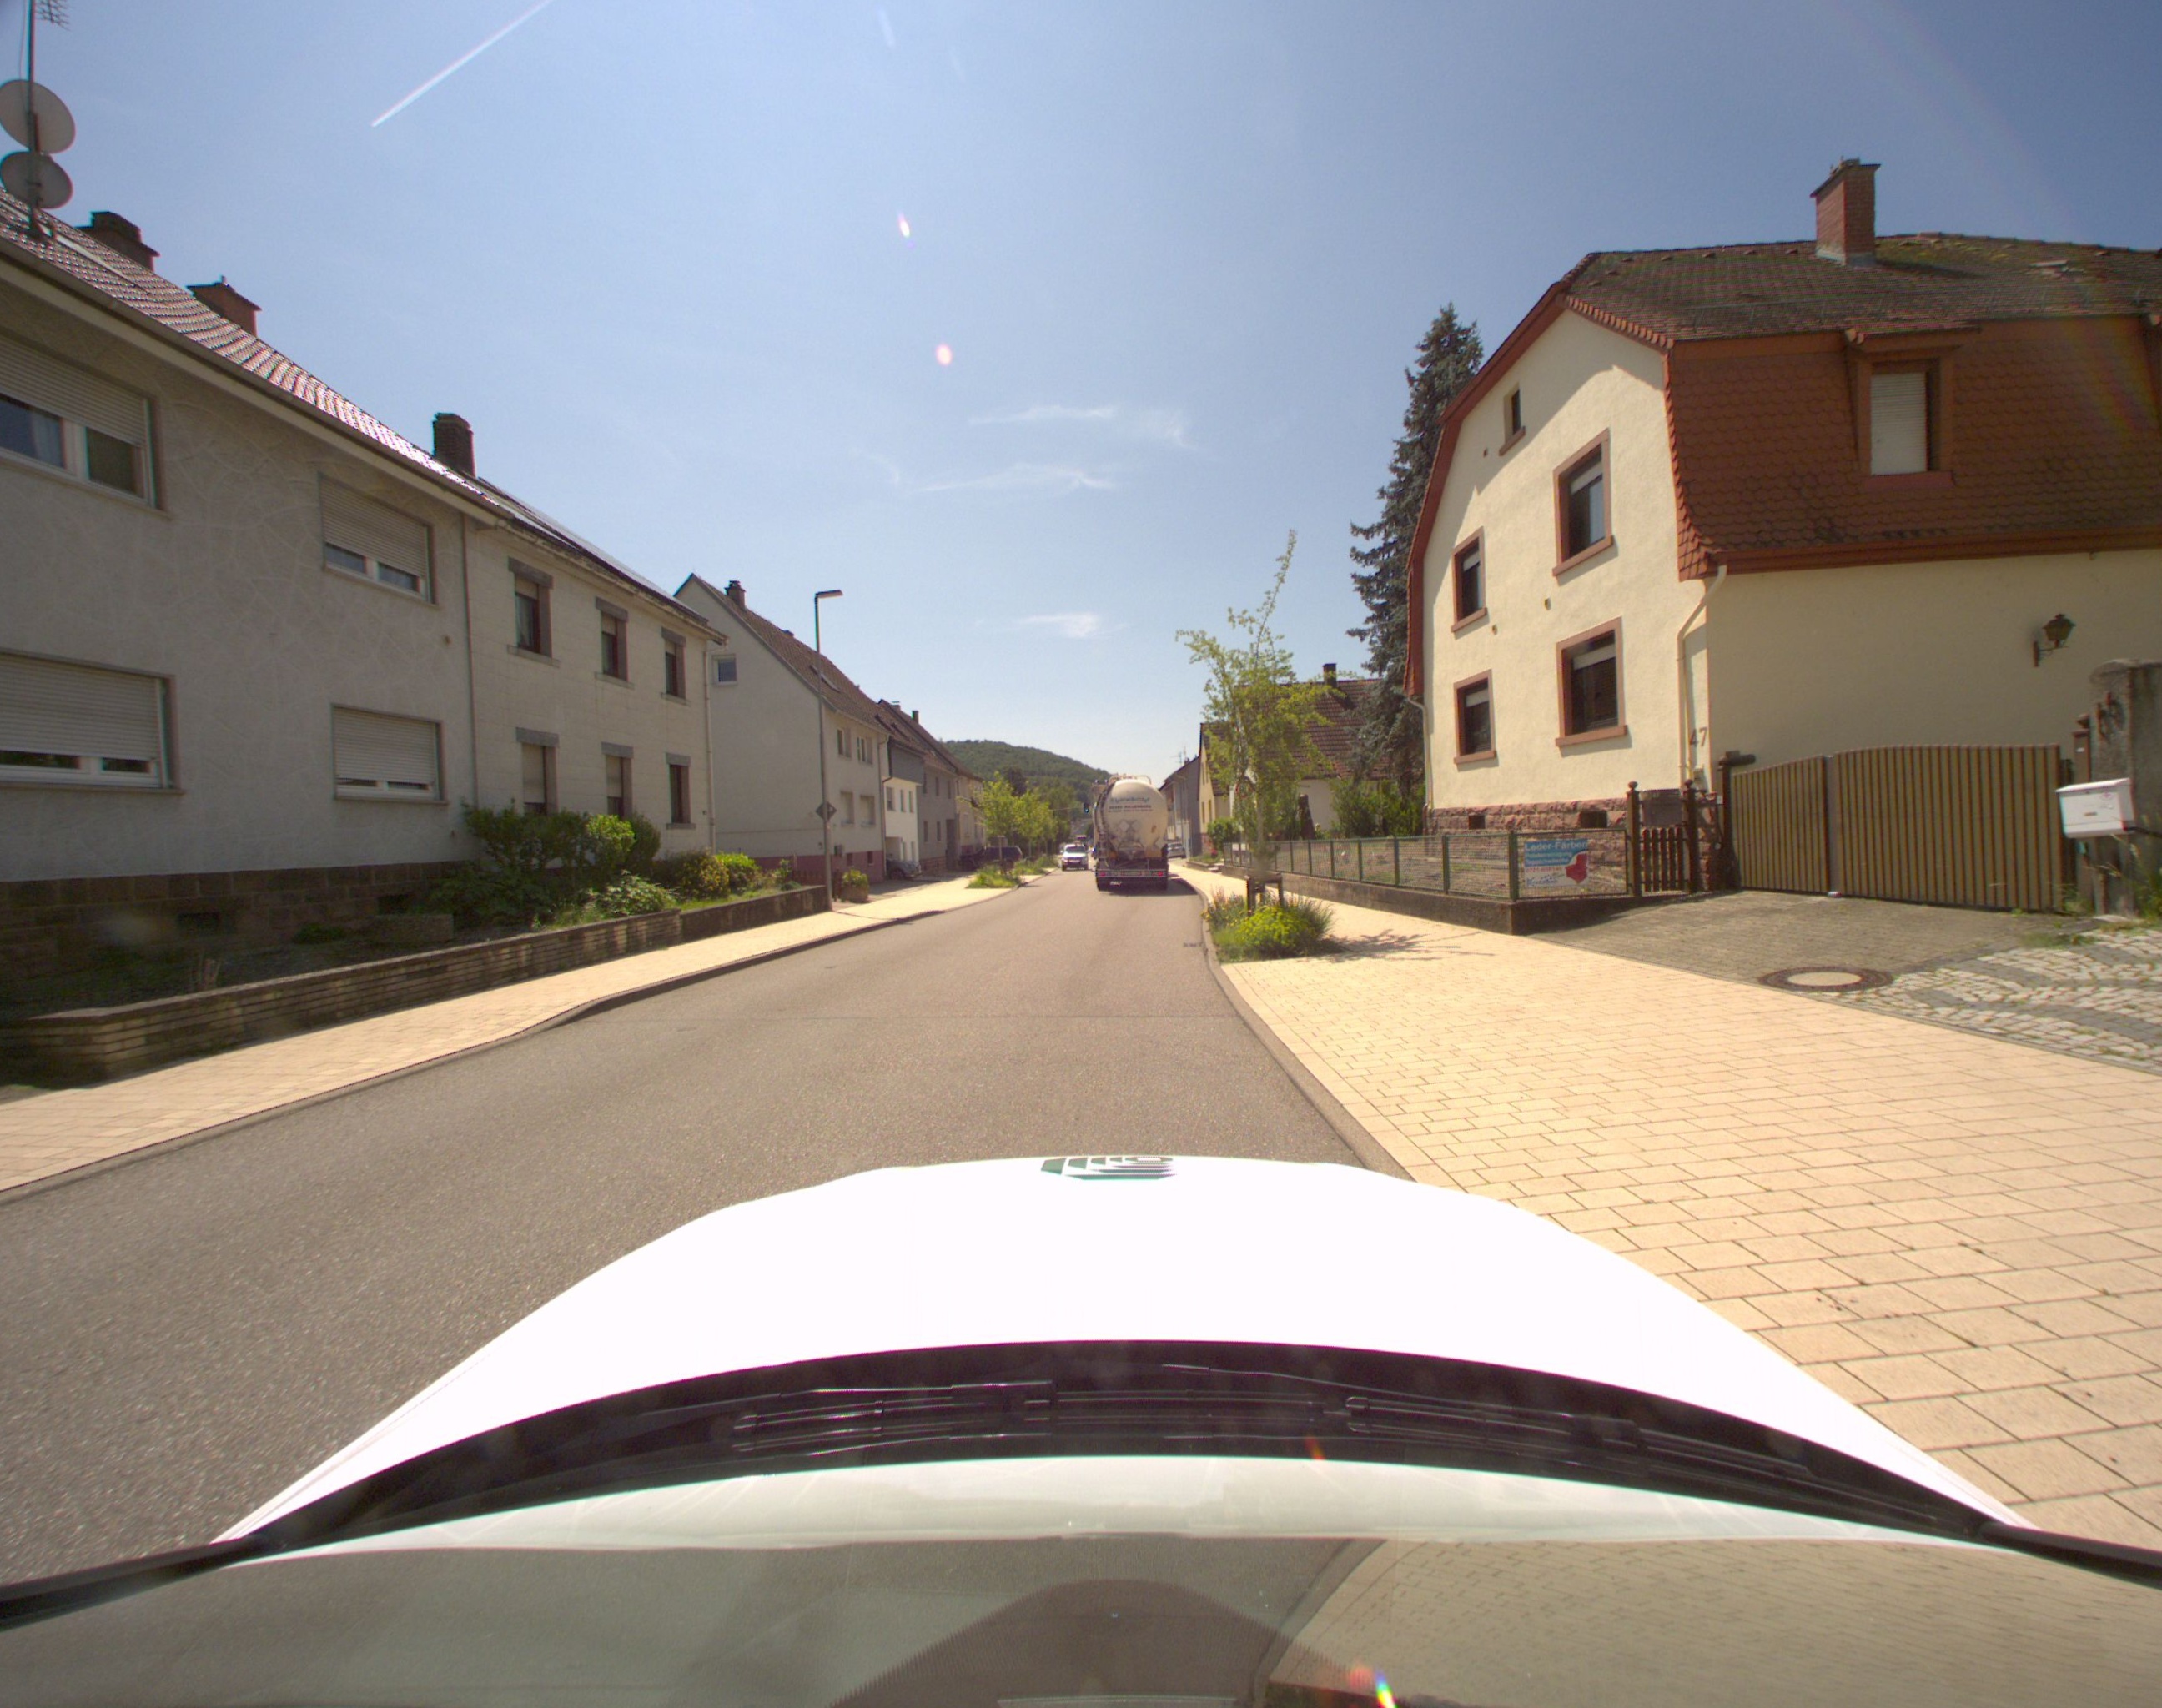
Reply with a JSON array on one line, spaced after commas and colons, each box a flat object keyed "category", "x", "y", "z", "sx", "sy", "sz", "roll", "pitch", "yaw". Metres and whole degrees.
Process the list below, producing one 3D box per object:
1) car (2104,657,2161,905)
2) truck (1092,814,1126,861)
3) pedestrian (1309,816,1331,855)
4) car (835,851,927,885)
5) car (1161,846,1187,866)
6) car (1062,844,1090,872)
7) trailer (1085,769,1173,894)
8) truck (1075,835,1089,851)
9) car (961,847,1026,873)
[{"category": "car", "x": 9.649, "y": -0.530, "z": 5.124, "sx": 3.971, "sy": 1.766, "sz": 1.892, "roll": 0, "pitch": 0, "yaw": 2}, {"category": "truck", "x": 2.844, "y": -1.603, "z": 86.695, "sx": 2.839, "sy": 4.679, "sz": 11.329, "roll": 0, "pitch": -1, "yaw": -2}, {"category": "pedestrian", "x": 10.172, "y": -0.779, "z": 34.711, "sx": 0.602, "sy": 1.615, "sz": 0.553, "roll": -7, "pitch": 0, "yaw": 1}, {"category": "car", "x": -9.777, "y": 0.676, "z": 40.007, "sx": 3.972, "sy": 1.545, "sz": 1.833, "roll": -1, "pitch": 0, "yaw": 1}, {"category": "car", "x": 7.831, "y": 0.127, "z": 68.964, "sx": 1.783, "sy": 1.541, "sz": 4.523, "roll": -3, "pitch": 0, "yaw": 3}, {"category": "car", "x": -0.315, "y": 0.262, "z": 58.413, "sx": 1.882, "sy": 1.861, "sz": 4.579, "roll": -1, "pitch": 0, "yaw": 1}, {"category": "trailer", "x": 1.872, "y": -0.720, "z": 31.339, "sx": 2.784, "sy": 4.001, "sz": 10.334, "roll": 0, "pitch": 0, "yaw": 4}, {"category": "truck", "x": 0.221, "y": -2.475, "z": 177.465, "sx": 2.719, "sy": 3.371, "sz": 8.636, "roll": -1, "pitch": 0, "yaw": 1}, {"category": "car", "x": -6.276, "y": 0.419, "z": 58.650, "sx": 4.380, "sy": 1.750, "sz": 1.878, "roll": -1, "pitch": 0, "yaw": 0}]
